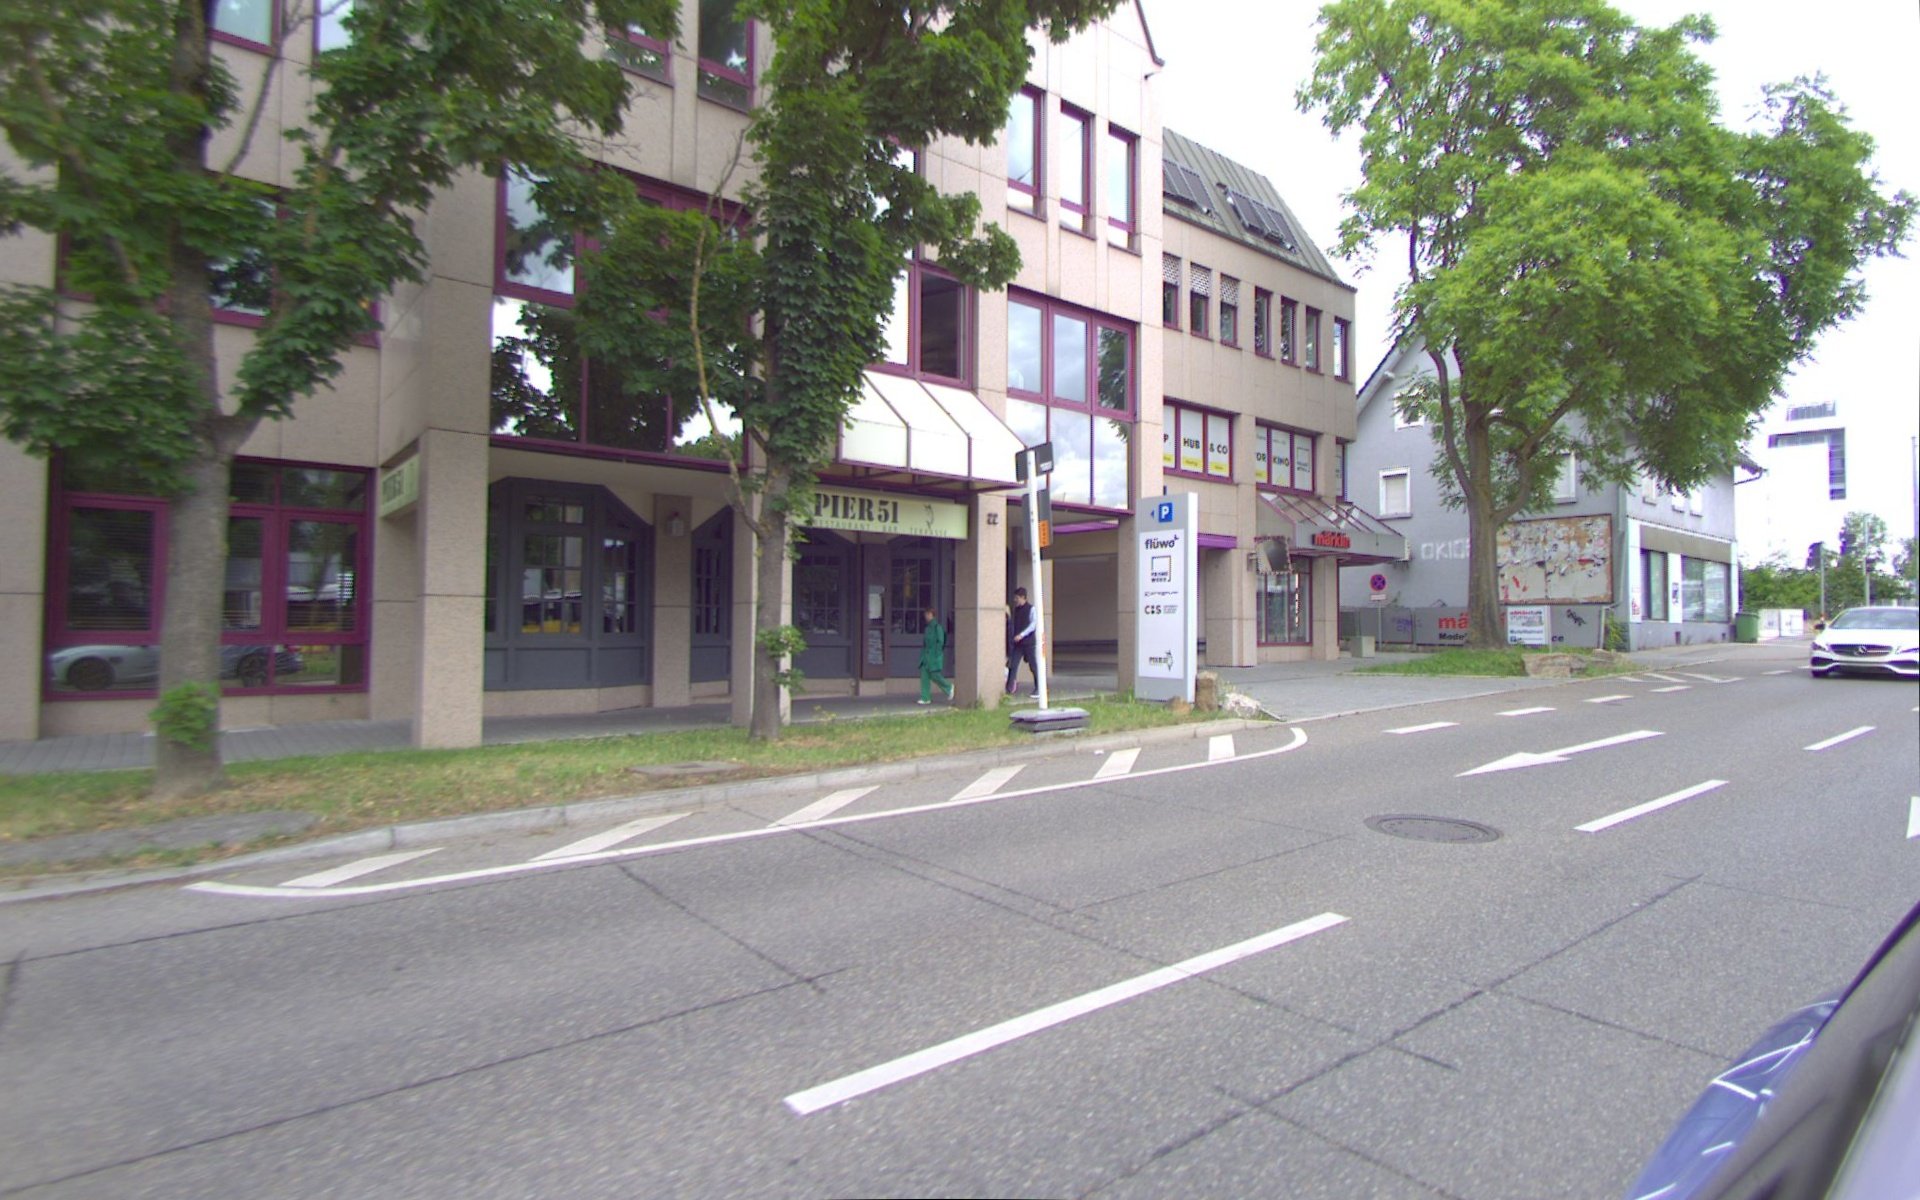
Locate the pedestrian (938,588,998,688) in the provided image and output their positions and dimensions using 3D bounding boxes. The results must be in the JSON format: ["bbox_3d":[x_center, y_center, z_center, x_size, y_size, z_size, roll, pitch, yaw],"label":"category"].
[{"bbox_3d":[0.138,0.644,17.957,0.827,1.712,0.659,0,1,-38],"label":"pedestrian"}]

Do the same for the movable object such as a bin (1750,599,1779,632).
[{"bbox_3d":[27.904,0.545,35.109,0.697,1.118,0.627,0,-1,-39],"label":"movable object such as a bin"}]

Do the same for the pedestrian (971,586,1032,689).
[{"bbox_3d":[0.717,0.615,17.428,0.827,1.712,0.659,0,1,-38],"label":"pedestrian"}]

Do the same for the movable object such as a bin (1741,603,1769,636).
[{"bbox_3d":[27.241,0.661,34.672,0.697,1.118,0.610,0,-1,-39],"label":"movable object such as a bin"}]

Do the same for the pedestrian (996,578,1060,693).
[{"bbox_3d":[1.119,0.557,16.699,0.827,1.849,0.659,0,1,-38],"label":"pedestrian"}]

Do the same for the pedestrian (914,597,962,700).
[{"bbox_3d":[-0.351,0.749,16.001,0.534,1.569,0.562,0,1,-38],"label":"pedestrian"}]

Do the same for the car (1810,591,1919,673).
[{"bbox_3d":[19.168,0.587,20.686,4.614,1.491,1.798,-1,0,-38],"label":"car"}]
